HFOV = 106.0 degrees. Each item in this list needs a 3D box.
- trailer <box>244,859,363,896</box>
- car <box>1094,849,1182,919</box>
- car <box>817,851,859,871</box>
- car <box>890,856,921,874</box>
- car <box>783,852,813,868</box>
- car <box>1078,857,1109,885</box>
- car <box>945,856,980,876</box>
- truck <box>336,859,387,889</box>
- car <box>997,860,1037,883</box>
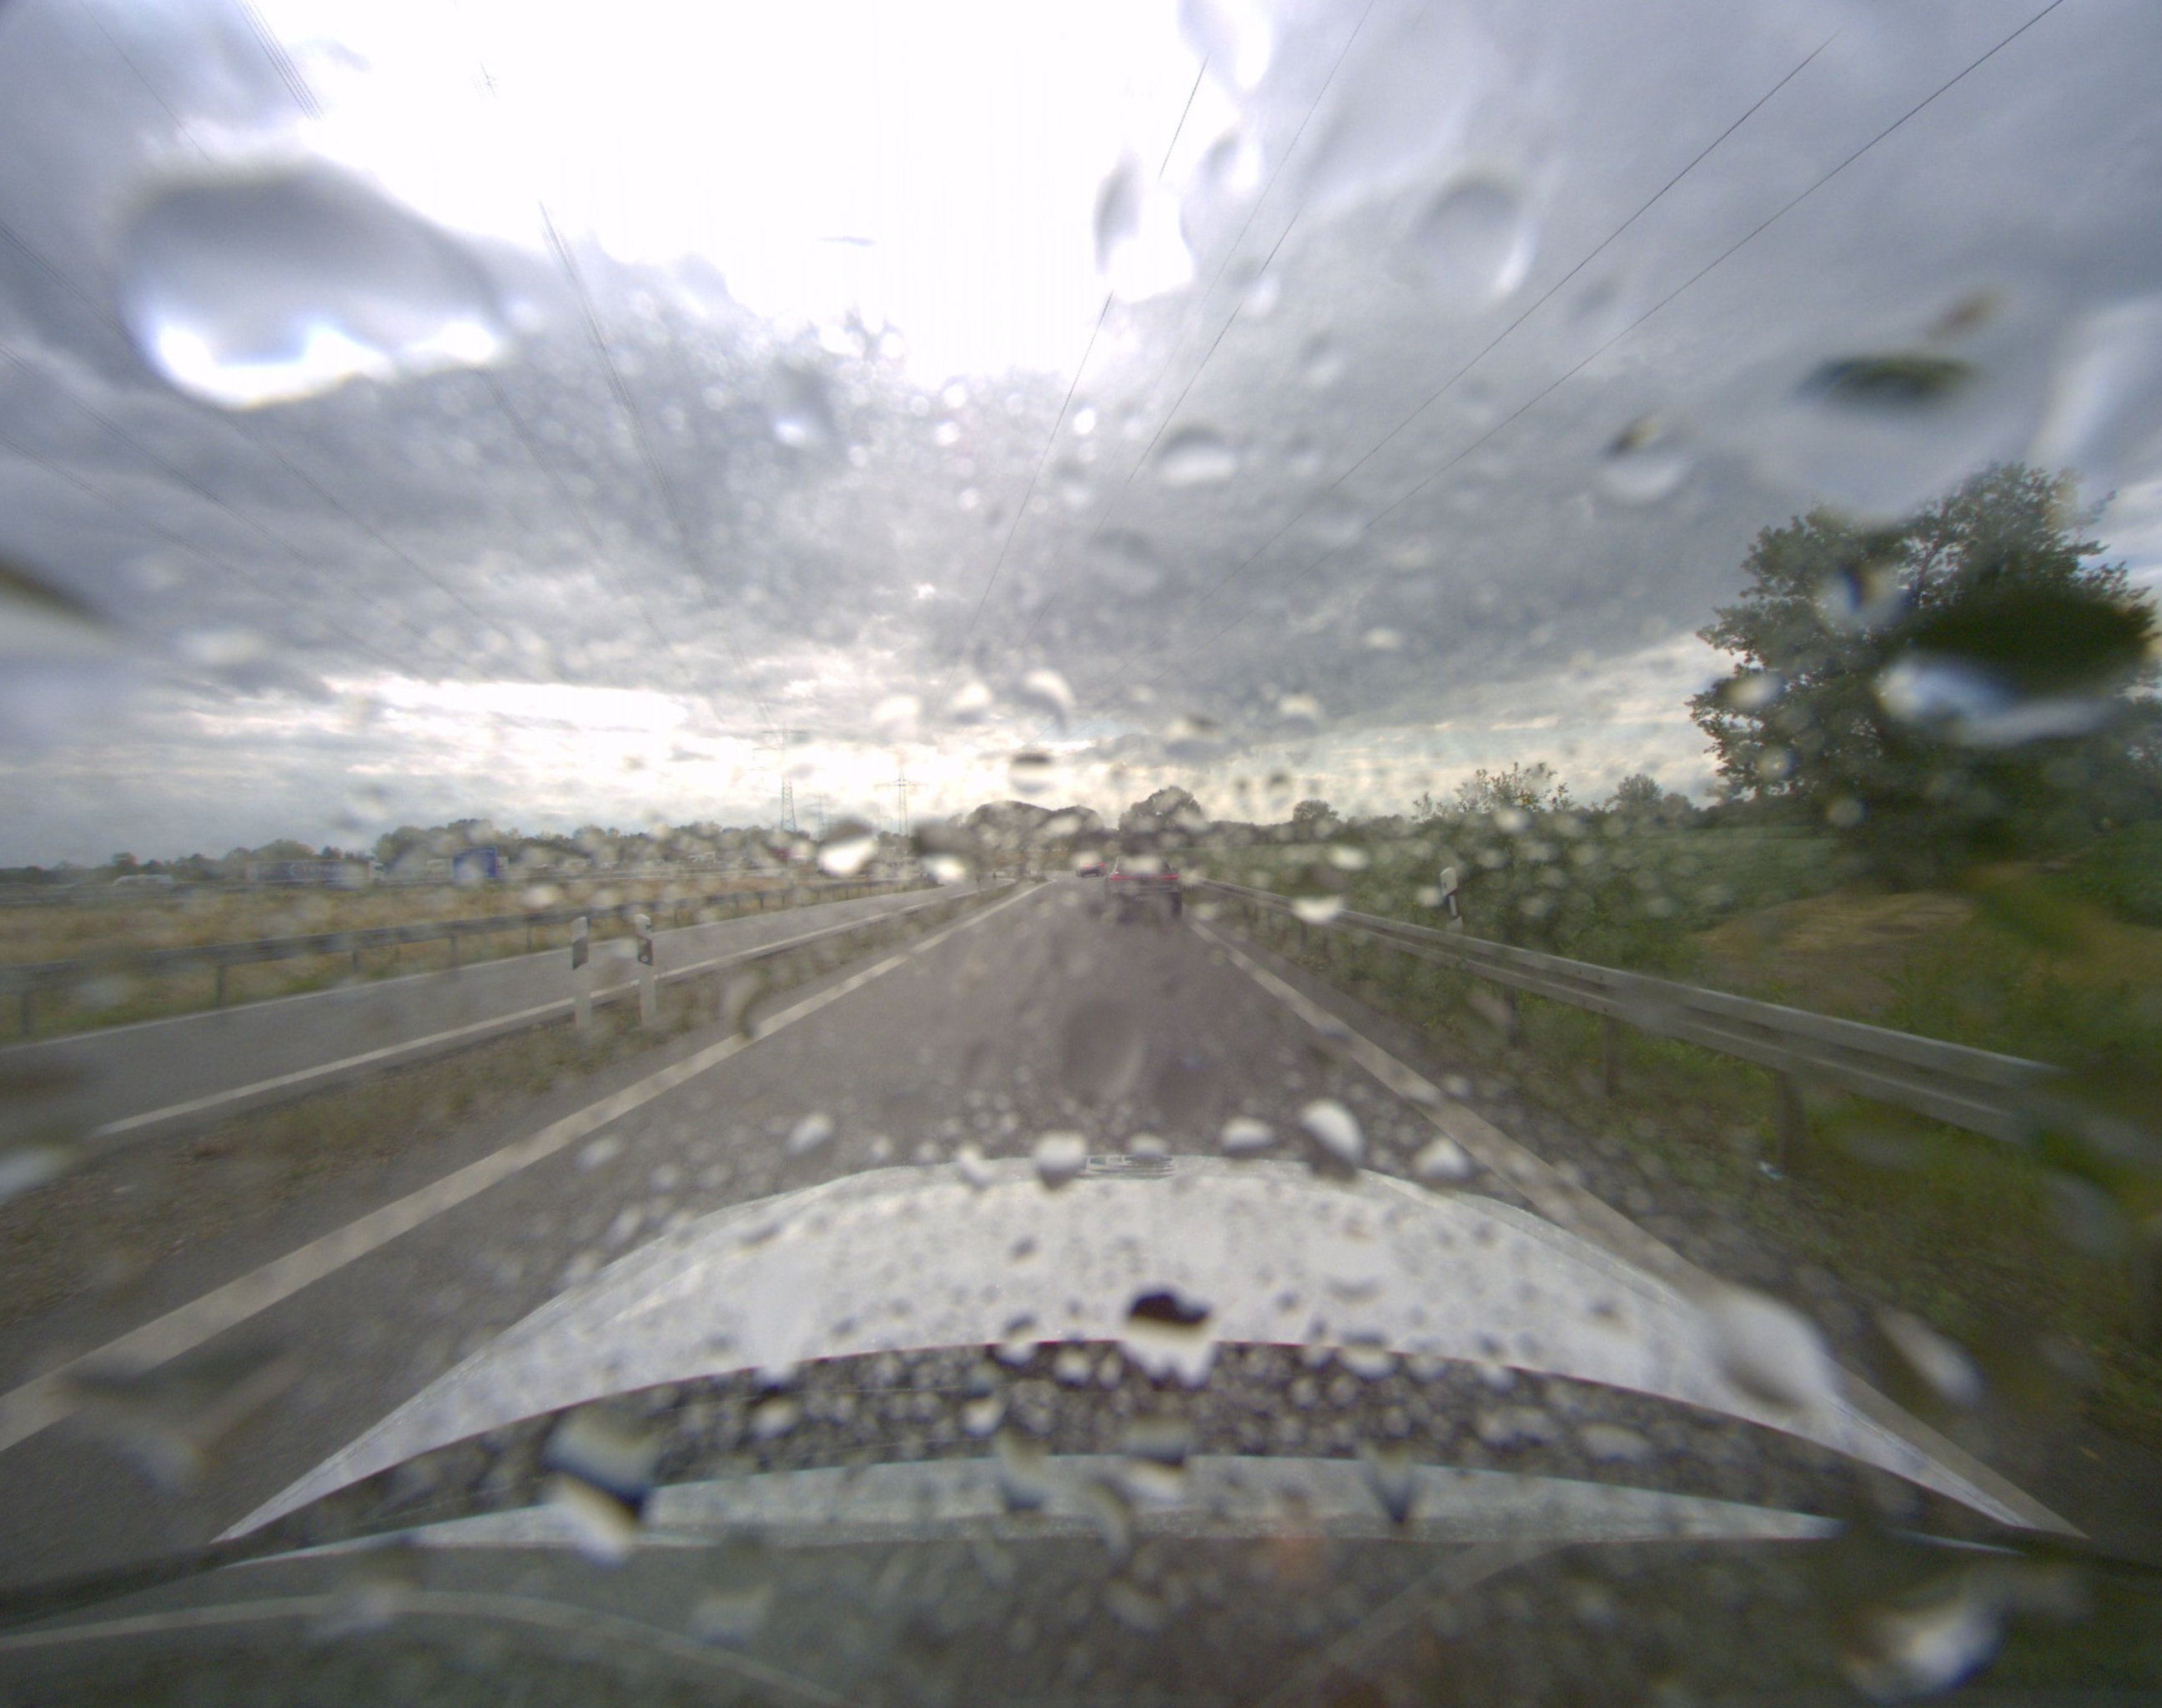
[{"bbox_3d":[-118.913,3.525,125.008,3.024,4.634,13.362,-1,3,16],"label":"trailer"},{"bbox_3d":[1.421,0.664,20.442,1.985,1.566,4.153,-1,0,4],"label":"car"},{"bbox_3d":[-39.176,1.159,131.075,7.118,2.951,3.166,0,3,42],"label":"car"},{"bbox_3d":[-25.161,1.559,116.780,2.370,2.306,5.072,-4,3,-36],"label":"car"},{"bbox_3d":[-69.745,1.440,200.820,3.367,3.610,9.058,-2,0,5],"label":"car"},{"bbox_3d":[0.983,1.339,65.743,2.116,2.018,5.528,-2,0,-3],"label":"car"},{"bbox_3d":[-15.319,1.511,105.301,2.369,2.306,5.073,-3,3,-36],"label":"car"},{"bbox_3d":[-116.791,3.196,132.225,3.045,4.478,5.095,-1,2,15],"label":"truck"},{"bbox_3d":[-7.113,1.899,90.374,2.366,2.306,5.080,-3,3,-30],"label":"car"}]
